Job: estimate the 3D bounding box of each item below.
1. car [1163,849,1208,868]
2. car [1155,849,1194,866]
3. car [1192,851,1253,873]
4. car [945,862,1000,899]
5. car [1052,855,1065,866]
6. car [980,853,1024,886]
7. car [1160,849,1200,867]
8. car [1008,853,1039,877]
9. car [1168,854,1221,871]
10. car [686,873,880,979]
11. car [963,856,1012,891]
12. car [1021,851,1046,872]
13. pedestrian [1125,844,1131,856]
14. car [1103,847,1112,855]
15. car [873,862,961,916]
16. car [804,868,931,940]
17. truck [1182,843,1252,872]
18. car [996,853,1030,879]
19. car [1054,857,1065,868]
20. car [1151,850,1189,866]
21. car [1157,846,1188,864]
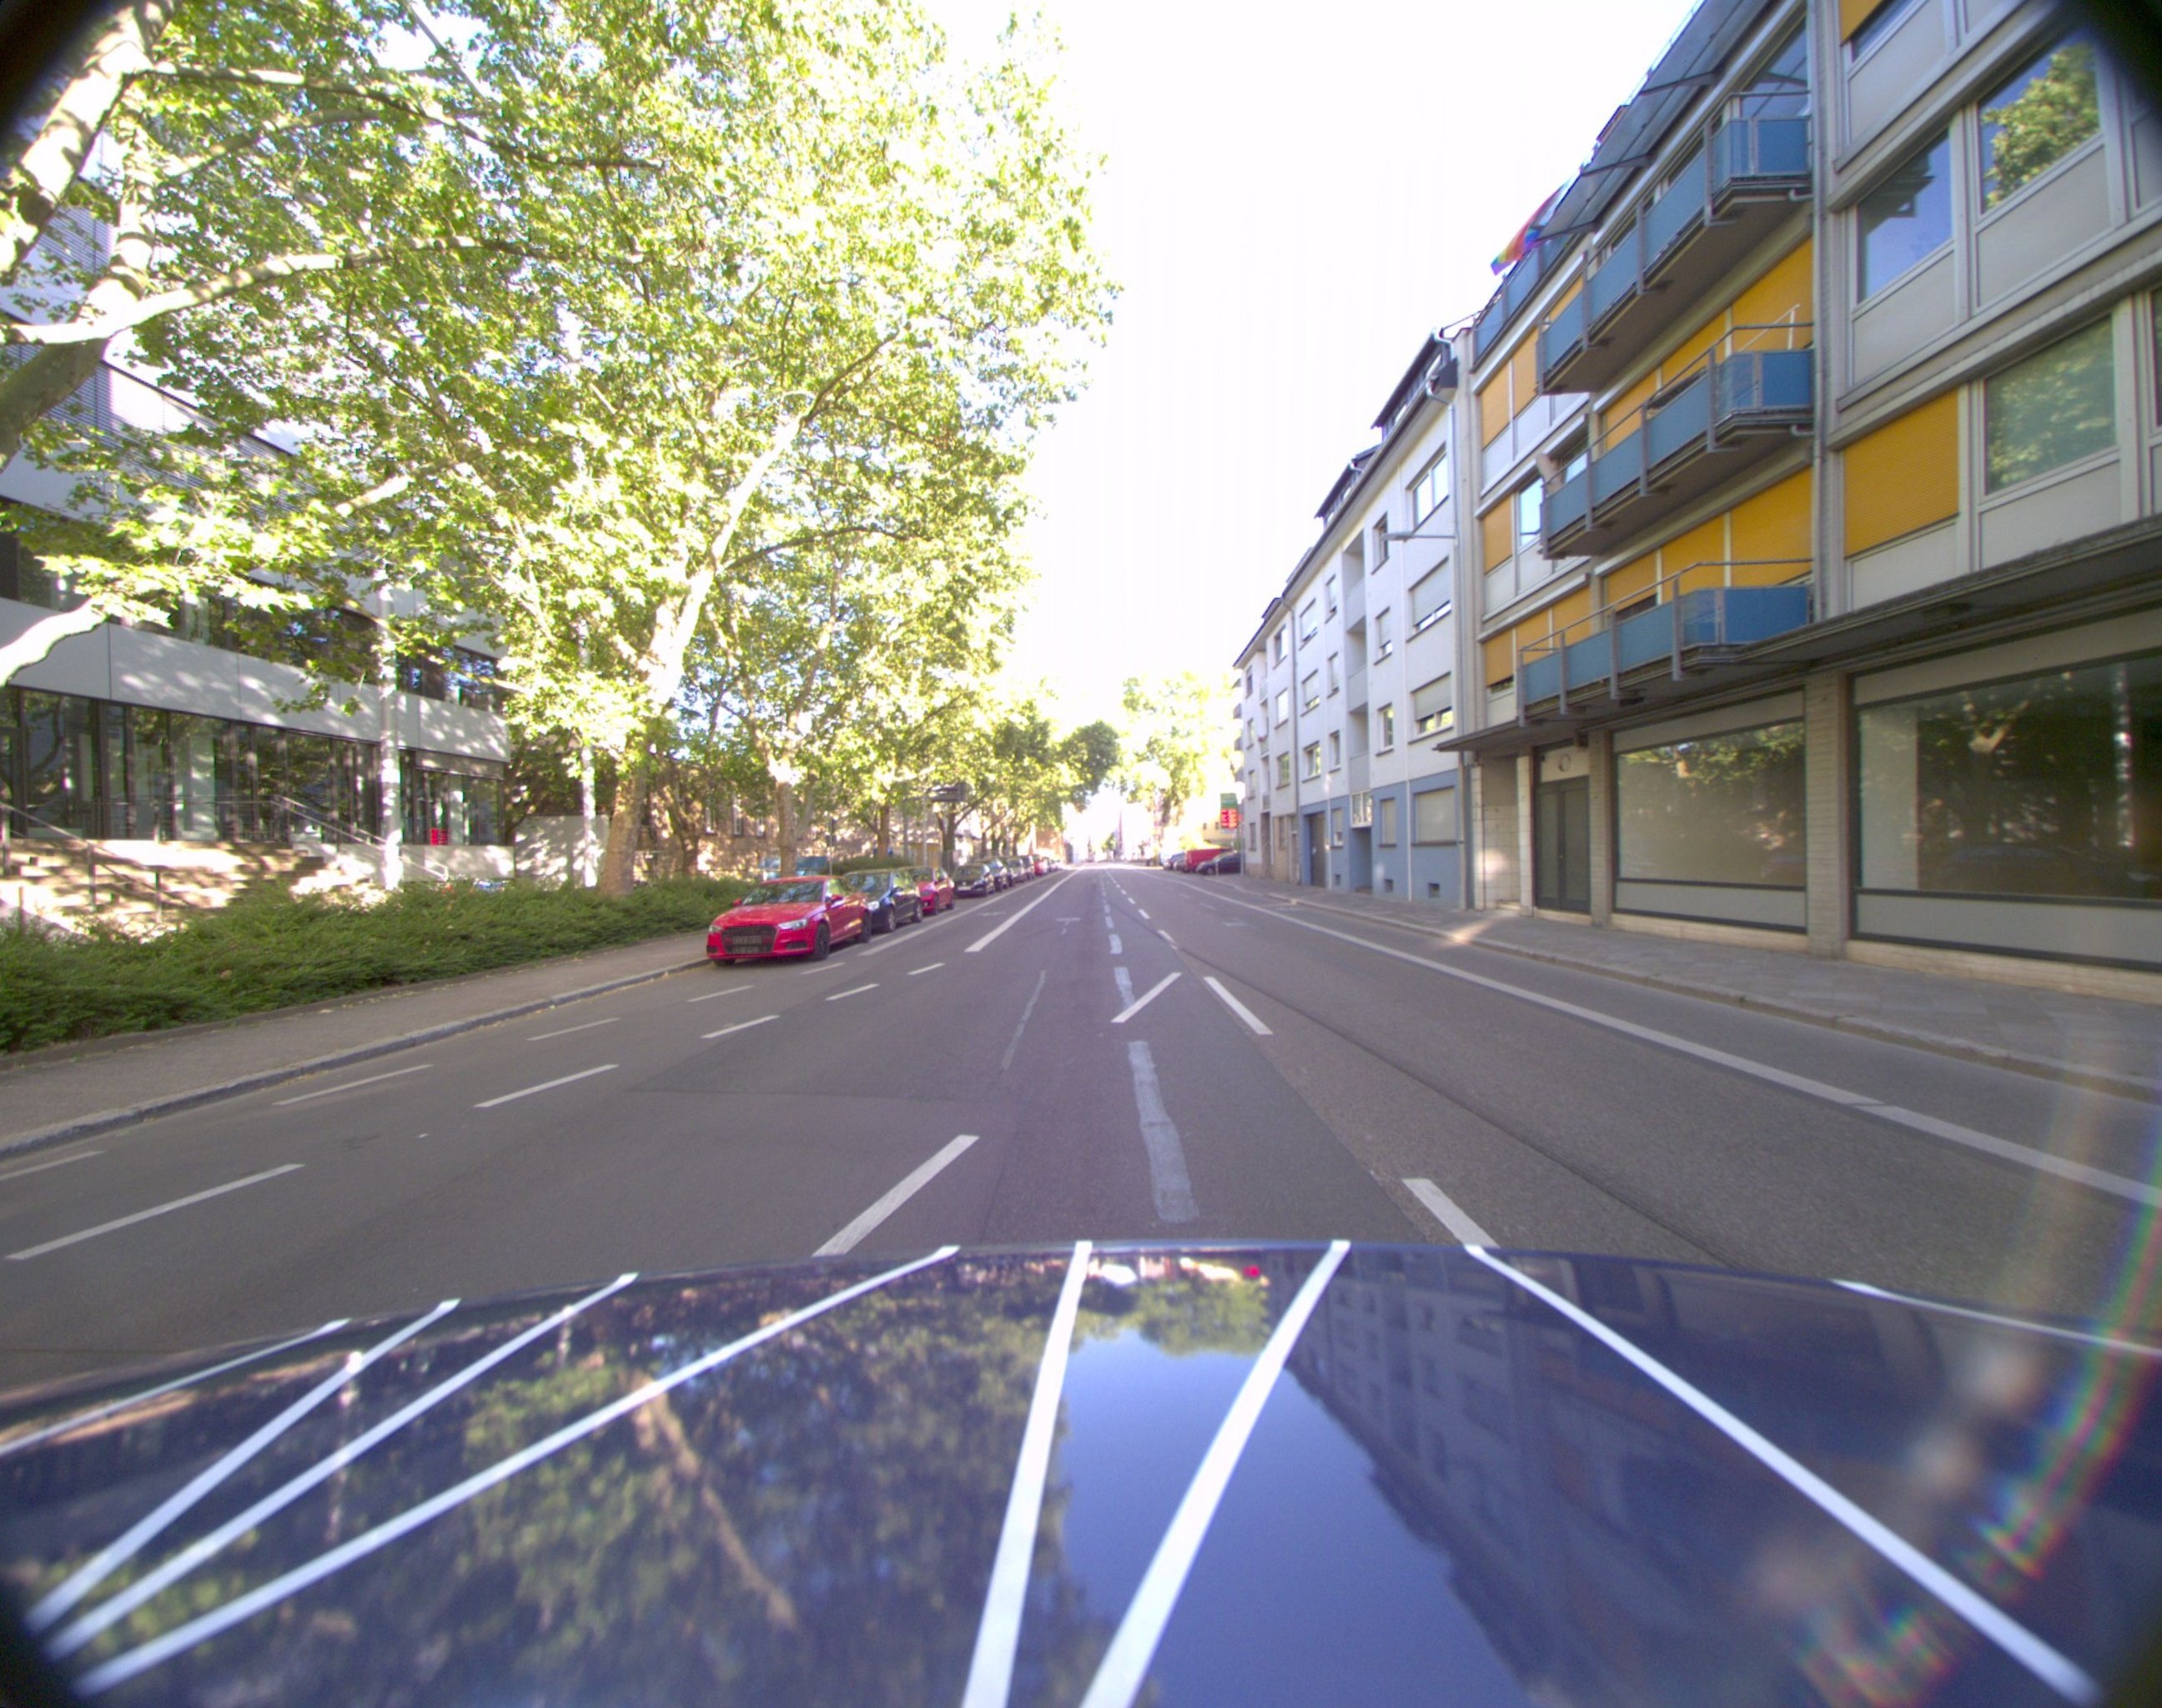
[{"bbox_3d":[10.086,0.426,73.354,3.998,1.618,1.702,-2,1,-5],"label":"car"},{"bbox_3d":[9.618,0.391,78.560,3.703,1.573,1.718,-2,1,-5],"label":"car"},{"bbox_3d":[10.200,0.568,54.862,3.997,1.385,1.781,-2,1,-1],"label":"car"},{"bbox_3d":[-4.674,1.091,33.255,1.745,1.430,4.000,-1,0,1],"label":"car"},{"bbox_3d":[-3.018,0.832,102.802,1.707,1.459,3.809,-1,0,0],"label":"car"},{"bbox_3d":[-4.542,0.878,44.184,1.998,1.715,4.262,-2,1,1],"label":"car"},{"bbox_3d":[9.883,0.394,75.901,3.658,1.578,1.659,-2,1,-5],"label":"car"},{"bbox_3d":[-4.166,0.761,55.501,1.831,1.608,4.177,-1,0,1],"label":"car"},{"bbox_3d":[9.380,0.696,62.807,4.033,1.265,1.906,-2,1,-1],"label":"car"},{"bbox_3d":[-5.094,1.145,13.665,1.775,1.416,4.173,-3,0,0],"label":"car"},{"bbox_3d":[-4.620,0.930,38.201,1.848,1.572,4.232,-2,0,1],"label":"car"},{"bbox_3d":[-4.104,0.626,66.171,1.876,1.685,4.166,-1,0,1],"label":"car"},{"bbox_3d":[12.026,-1.045,195.930,1.358,3.172,1.897,-2,1,1],"label":"pedestrian"},{"bbox_3d":[6.770,-0.777,193.453,1.998,2.002,3.999,-2,1,1],"label":"car"},{"bbox_3d":[-5.010,1.023,23.735,1.790,1.429,4.000,-1,0,1],"label":"car"},{"bbox_3d":[-5.002,1.119,18.419,1.813,1.449,4.000,-1,0,2],"label":"car"},{"bbox_3d":[10.730,0.250,60.087,5.088,2.009,2.000,-2,1,0],"label":"truck"},{"bbox_3d":[-4.438,0.749,50.445,1.798,1.608,4.075,-1,0,1],"label":"car"},{"bbox_3d":[-2.625,1.041,92.355,1.300,1.220,3.241,-1,0,0],"label":"car"},{"bbox_3d":[9.489,0.387,80.851,3.728,1.579,1.743,-2,1,-5],"label":"car"},{"bbox_3d":[10.234,0.120,85.258,3.267,1.927,1.693,-2,1,2],"label":"car"}]
